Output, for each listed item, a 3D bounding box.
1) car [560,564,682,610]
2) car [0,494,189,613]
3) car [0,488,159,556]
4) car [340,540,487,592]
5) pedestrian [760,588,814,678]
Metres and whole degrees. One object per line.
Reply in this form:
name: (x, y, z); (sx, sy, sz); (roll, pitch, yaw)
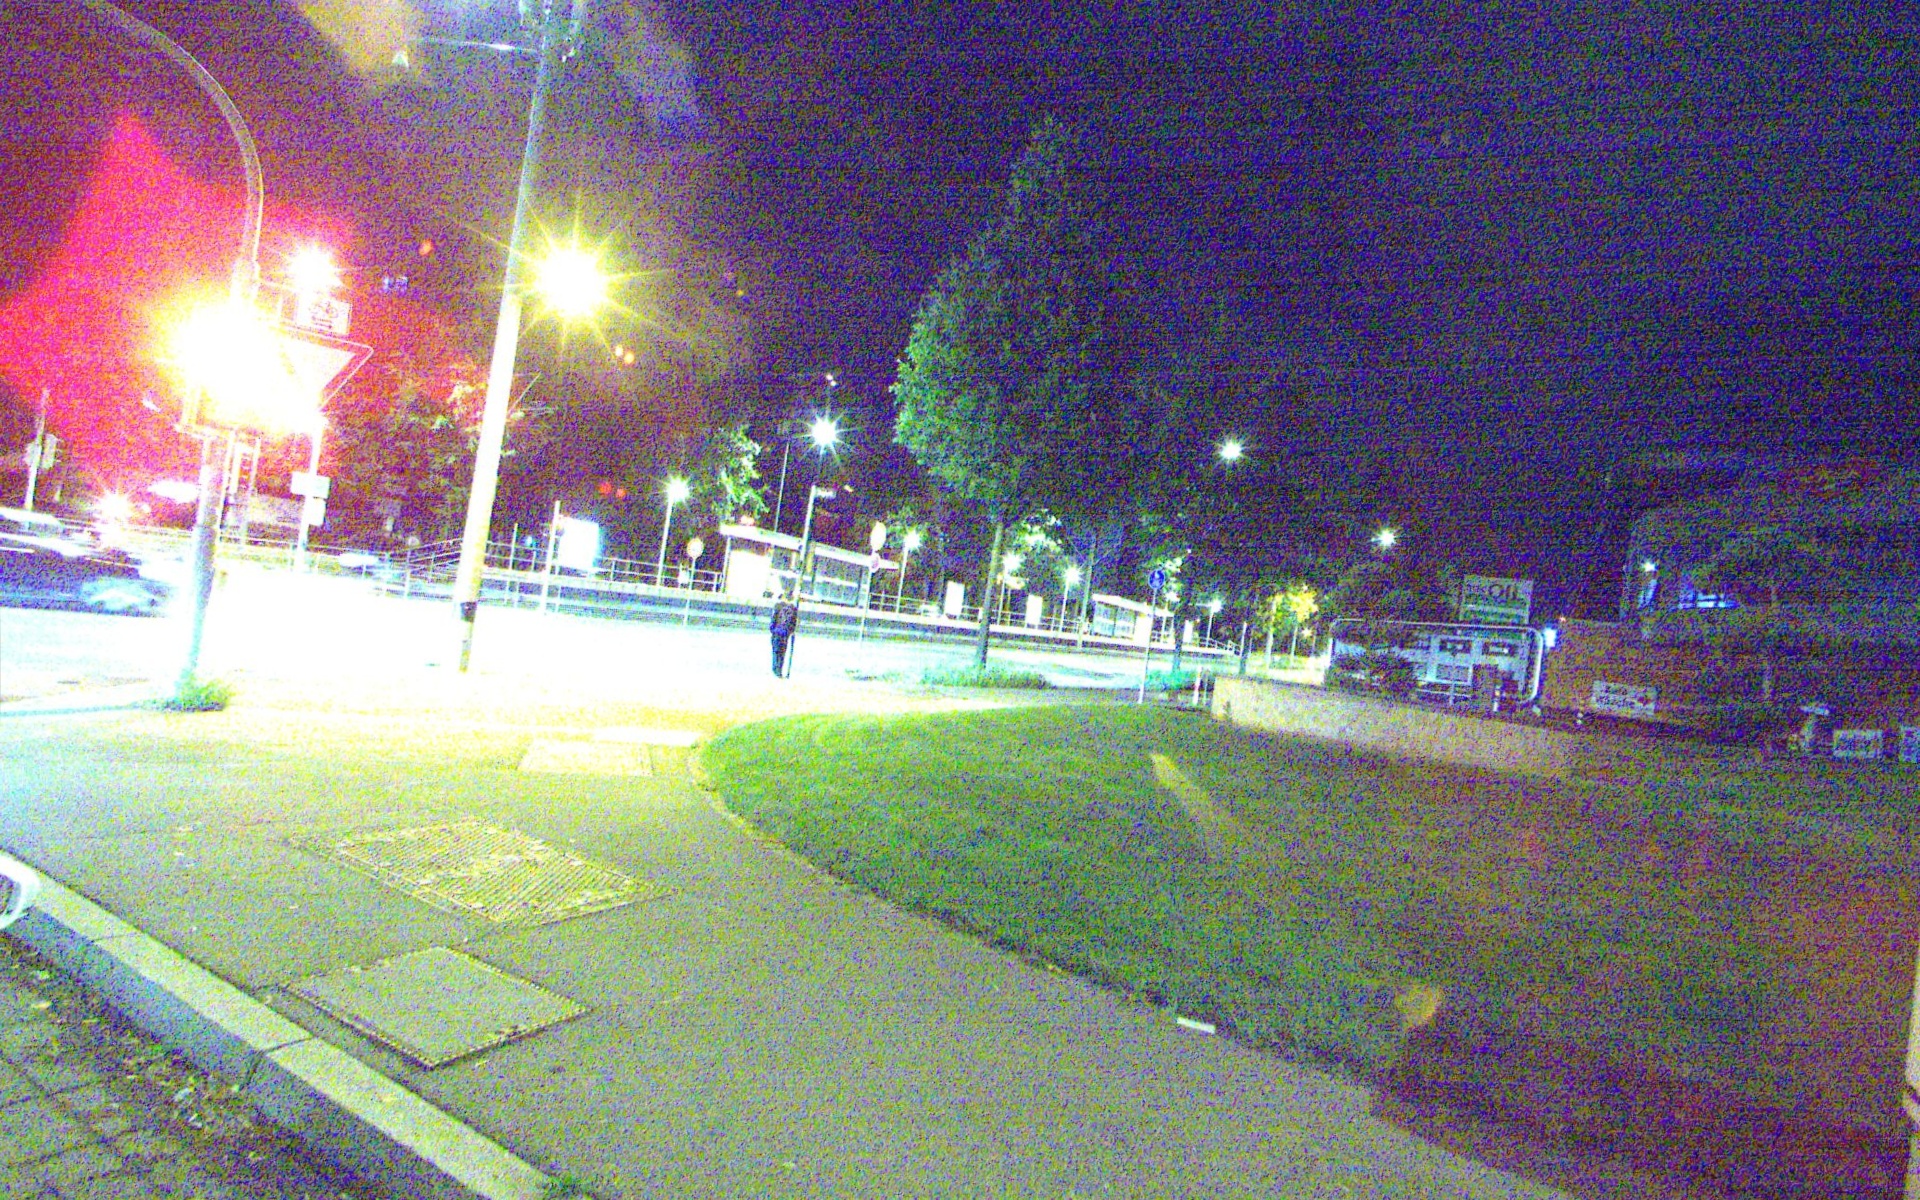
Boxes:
car: (-14.949, -0.548, 44.632); (1.822, 1.437, 4.943); (6, -1, 35)
car: (-14.105, -0.790, 14.329); (1.717, 1.438, 4.572); (10, 2, 35)
car: (-26.103, -2.282, 28.925); (1.822, 1.437, 4.429); (6, -1, 35)
car: (-21.887, -1.337, 40.504); (1.822, 1.437, 4.821); (6, -1, 35)
pedestrian: (-3.369, 0.630, 19.564); (0.867, 1.677, 0.835); (2, 1, -18)
